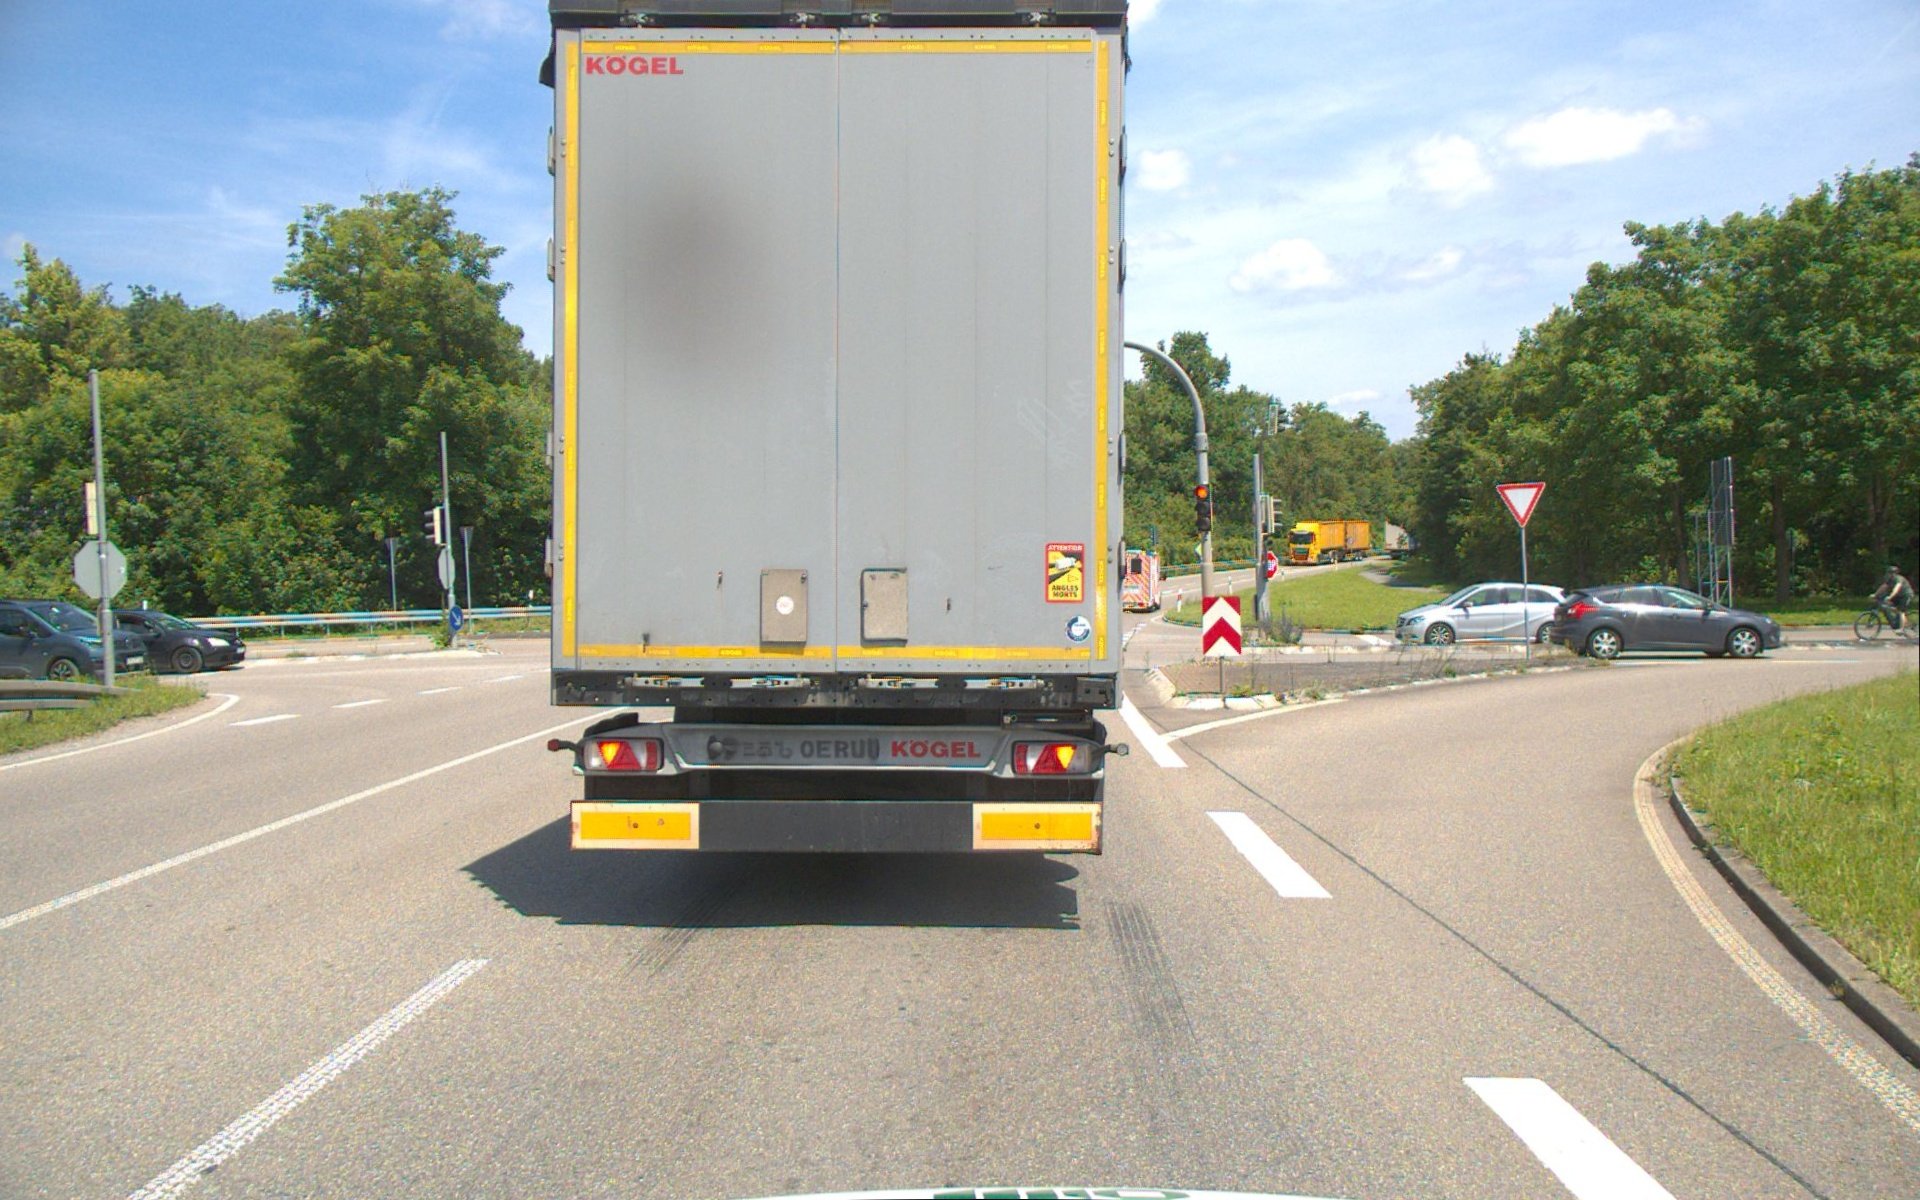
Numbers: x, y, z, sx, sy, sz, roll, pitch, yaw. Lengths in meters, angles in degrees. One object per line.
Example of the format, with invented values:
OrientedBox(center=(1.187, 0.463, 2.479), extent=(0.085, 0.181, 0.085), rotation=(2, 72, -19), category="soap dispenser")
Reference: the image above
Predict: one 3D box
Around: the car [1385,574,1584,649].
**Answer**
OrientedBox(center=(12.838, 0.303, 40.715), extent=(4.334, 1.749, 2.001), rotation=(0, -2, 4), category="car")

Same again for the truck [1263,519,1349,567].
OrientedBox(center=(33.747, -5.515, 160.857), extent=(4.917, 4.438, 11.746), rotation=(0, 1, 29), category="truck")

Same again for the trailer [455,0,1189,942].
OrientedBox(center=(-0.440, -0.691, 13.042), extent=(2.988, 4.104, 12.560), rotation=(0, 0, 1), category="trailer")

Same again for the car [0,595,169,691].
OrientedBox(center=(-18.054, 0.835, 32.458), extent=(4.143, 1.801, 2.002), rotation=(-1, 0, 9), category="car")

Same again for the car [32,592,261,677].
OrientedBox(center=(-17.946, 0.760, 36.592), extent=(4.143, 1.801, 2.002), rotation=(-1, 0, 9), category="car")

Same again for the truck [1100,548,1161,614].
OrientedBox(center=(7.815, -0.799, 75.385), extent=(2.440, 2.776, 6.035), rotation=(0, -2, 9), category="truck")

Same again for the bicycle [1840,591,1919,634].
OrientedBox(center=(22.699, 0.315, 40.464), extent=(1.949, 1.013, 0.796), rotation=(1, -2, -4), category="bicycle")

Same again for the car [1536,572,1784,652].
OrientedBox(center=(13.855, 0.255, 32.959), extent=(4.153, 1.517, 2.001), rotation=(0, -2, 7), category="car")

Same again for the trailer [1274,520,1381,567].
OrientedBox(center=(37.537, -5.682, 167.623), extent=(4.917, 4.438, 20.804), rotation=(0, 1, 29), category="trailer")

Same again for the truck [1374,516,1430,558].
OrientedBox(center=(46.179, -6.513, 172.477), extent=(3.118, 4.099, 11.731), rotation=(-1, 1, 28), category="truck")

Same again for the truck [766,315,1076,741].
OrientedBox(center=(-0.314, -0.713, 19.299), extent=(2.975, 4.104, 6.630), rotation=(0, 0, 1), category="truck")

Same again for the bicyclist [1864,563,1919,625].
OrientedBox(center=(22.860, -0.145, 40.497), extent=(0.985, 1.474, 0.795), rotation=(1, -2, -3), category="bicyclist")
